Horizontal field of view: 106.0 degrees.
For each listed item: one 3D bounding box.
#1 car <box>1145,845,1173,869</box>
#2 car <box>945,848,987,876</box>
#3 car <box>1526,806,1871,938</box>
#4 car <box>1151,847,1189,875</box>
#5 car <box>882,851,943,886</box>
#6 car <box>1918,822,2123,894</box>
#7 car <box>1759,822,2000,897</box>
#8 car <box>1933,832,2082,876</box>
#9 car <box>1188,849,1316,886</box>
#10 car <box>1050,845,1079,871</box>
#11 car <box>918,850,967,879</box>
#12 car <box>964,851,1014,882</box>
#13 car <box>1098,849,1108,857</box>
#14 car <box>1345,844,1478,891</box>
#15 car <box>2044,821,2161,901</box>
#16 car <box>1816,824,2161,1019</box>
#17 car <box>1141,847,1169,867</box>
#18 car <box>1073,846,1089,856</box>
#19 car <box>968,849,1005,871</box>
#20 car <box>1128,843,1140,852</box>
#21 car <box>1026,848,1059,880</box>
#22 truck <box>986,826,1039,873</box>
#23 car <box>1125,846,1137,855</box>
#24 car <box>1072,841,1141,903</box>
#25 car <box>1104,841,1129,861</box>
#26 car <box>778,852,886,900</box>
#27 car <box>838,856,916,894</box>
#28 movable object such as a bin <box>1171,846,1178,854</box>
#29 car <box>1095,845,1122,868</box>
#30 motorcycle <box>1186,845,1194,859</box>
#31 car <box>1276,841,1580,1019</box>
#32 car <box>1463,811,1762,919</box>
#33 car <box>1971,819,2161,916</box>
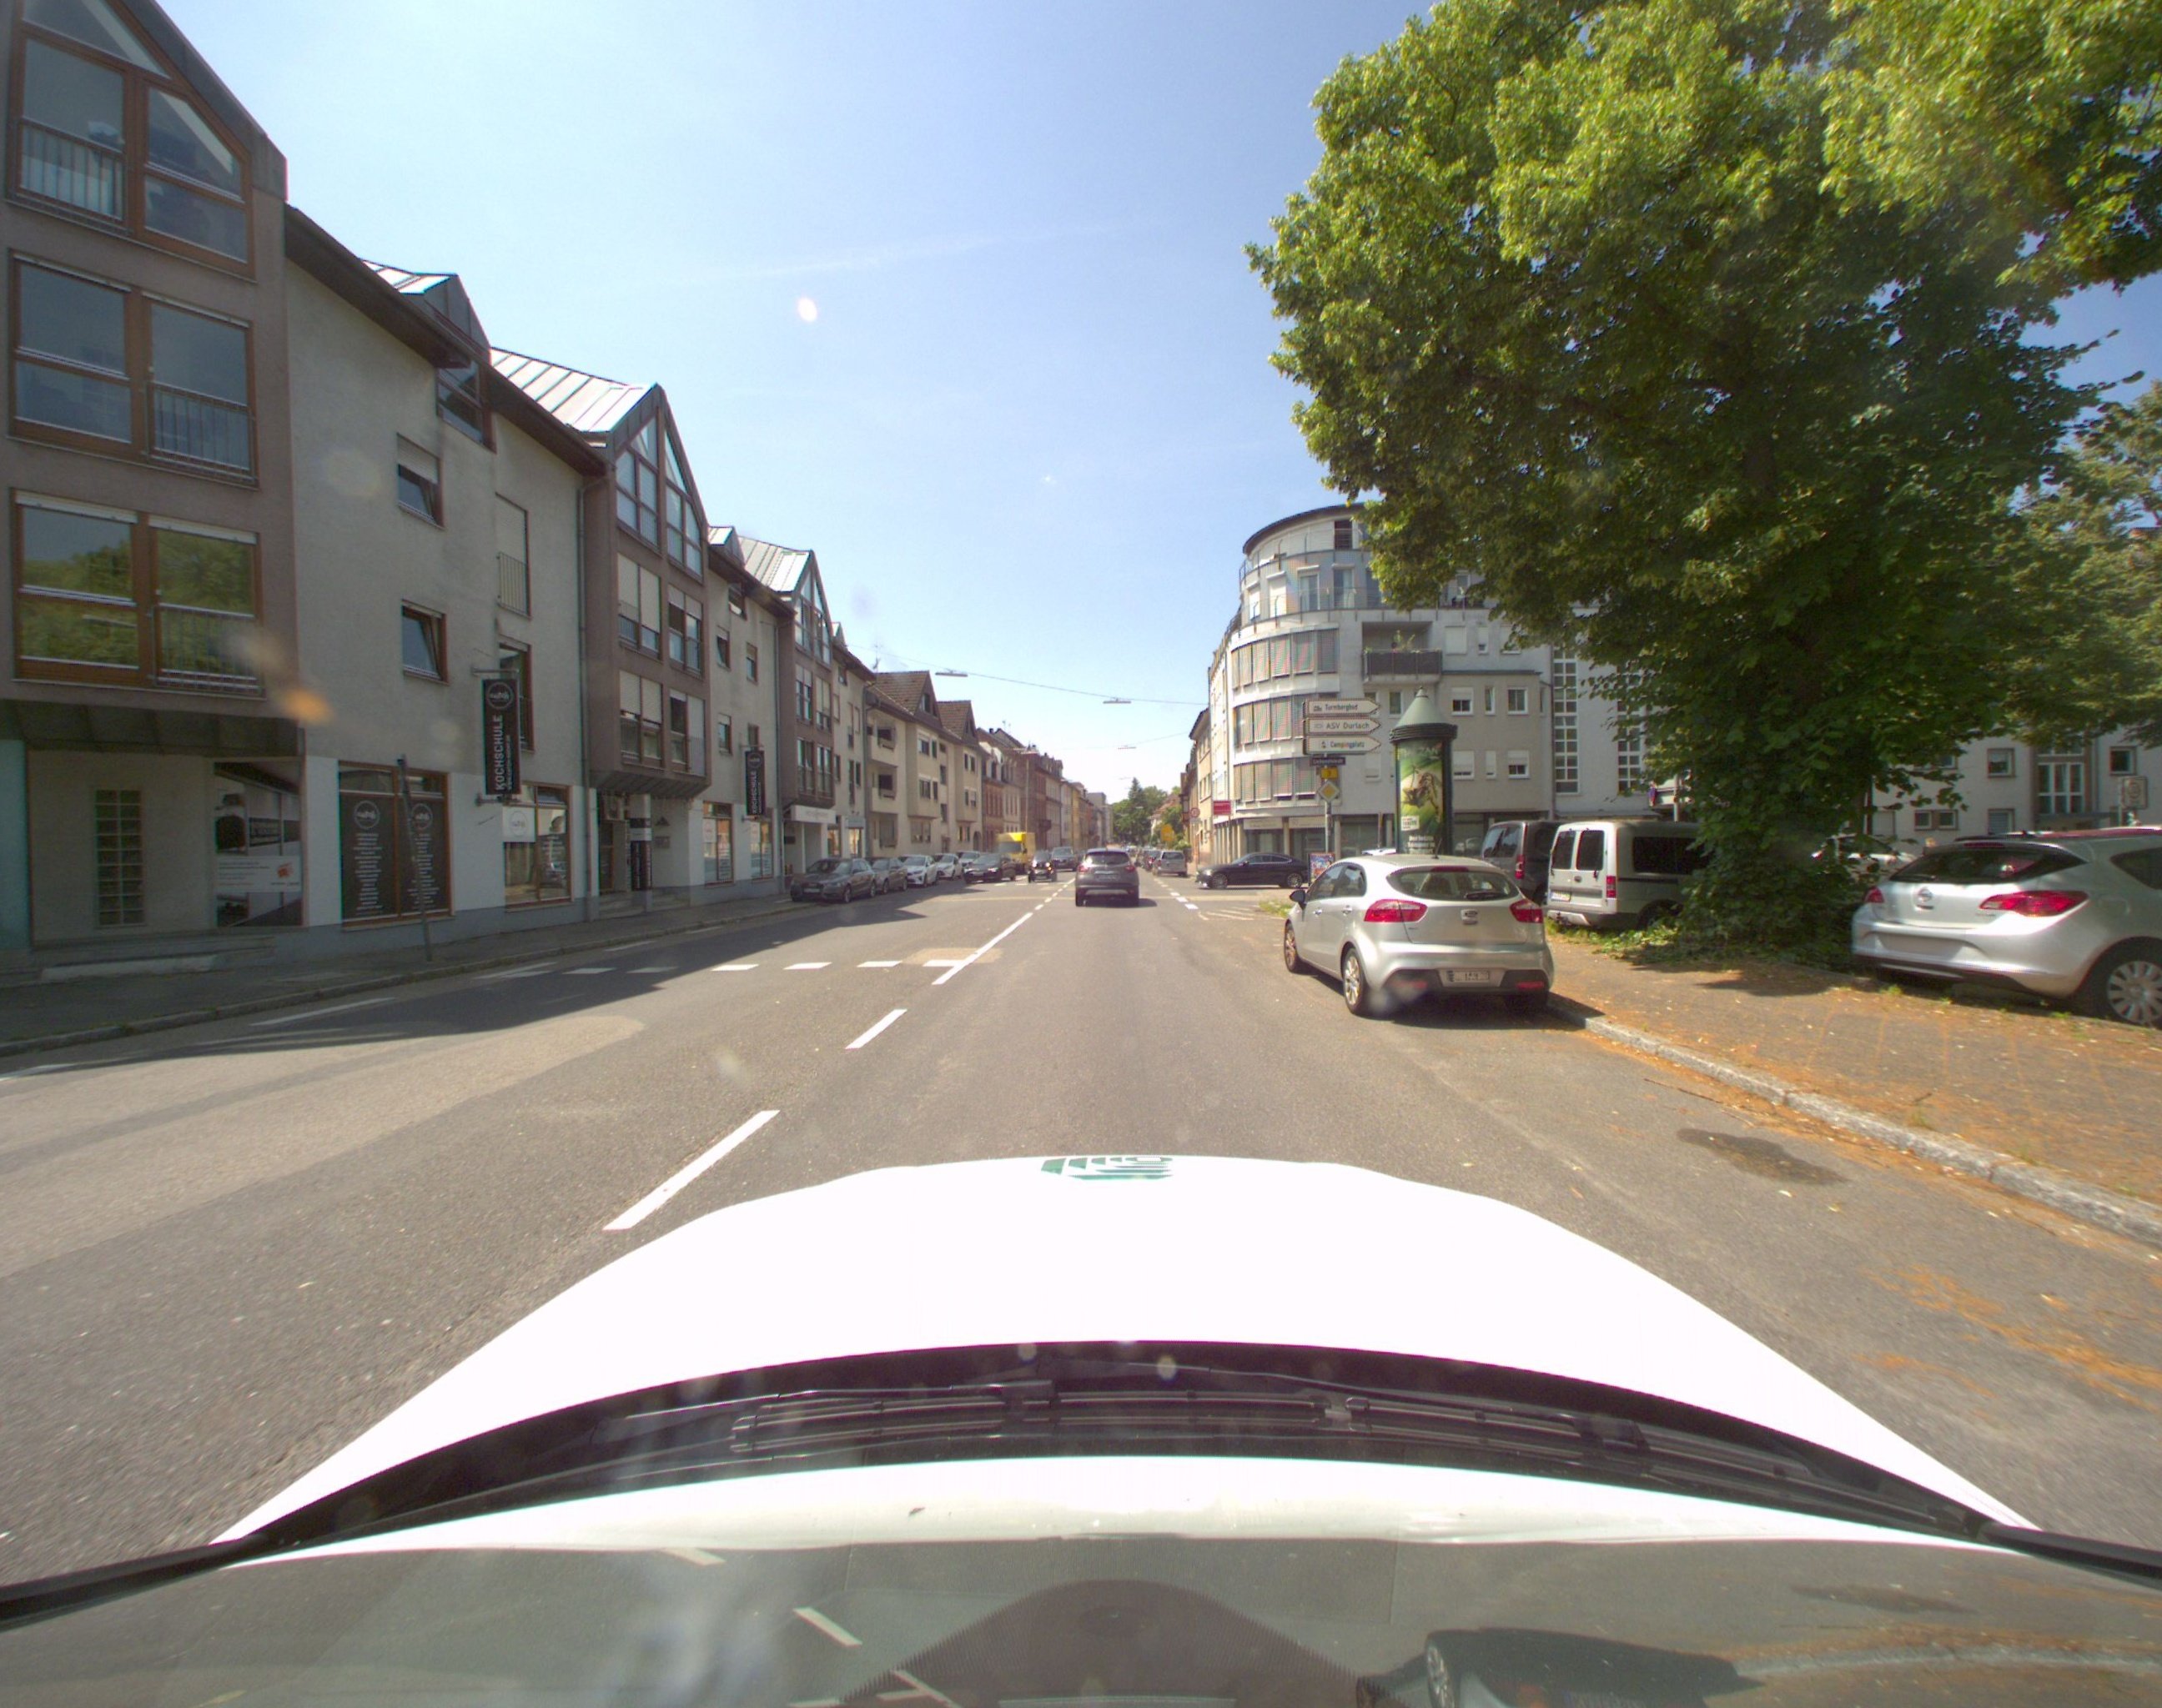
[{"bbox_3d":[5.150,0.158,54.126,1.704,1.473,4.442,-1,0,3],"label":"car"},{"bbox_3d":[-7.142,0.466,51.062,1.832,1.595,4.389,1,0,2],"label":"car"},{"bbox_3d":[8.713,0.224,11.694,3.754,1.667,1.662,-1,0,-3],"label":"car"},{"bbox_3d":[4.869,0.341,44.859,1.672,1.454,4.143,1,0,1],"label":"car"},{"bbox_3d":[-7.817,0.638,38.157,1.833,1.489,4.388,1,0,1],"label":"car"},{"bbox_3d":[22.295,0.091,19.410,3.053,1.554,1.591,-2,0,0],"label":"car"},{"bbox_3d":[18.504,0.117,18.995,3.974,1.554,1.681,-2,0,0],"label":"car"},{"bbox_3d":[37.234,-0.006,32.776,4.360,1.735,1.626,0,0,-3],"label":"car"},{"bbox_3d":[6.537,0.506,31.546,4.566,1.365,2.000,0,0,0],"label":"car"},{"bbox_3d":[-1.116,0.231,54.566,1.807,1.620,4.440,-2,0,-1],"label":"car"},{"bbox_3d":[-7.719,0.549,45.783,1.832,1.489,4.389,1,0,2],"label":"car"},{"bbox_3d":[-4.502,0.596,40.505,1.735,1.419,4.227,-2,0,3],"label":"car"},{"bbox_3d":[4.528,-0.222,165.641,1.898,1.619,4.304,-3,0,2],"label":"car"},{"bbox_3d":[11.363,0.451,28.169,3.975,1.555,1.570,0,0,-1],"label":"car"},{"bbox_3d":[22.427,0.090,16.747,3.370,1.554,1.591,-2,0,0],"label":"car"},{"bbox_3d":[8.863,0.473,6.685,3.970,1.398,1.810,0,0,3],"label":"car"},{"bbox_3d":[5.377,0.178,59.657,1.646,1.420,4.048,-1,0,0],"label":"car"},{"bbox_3d":[0.068,-0.473,120.826,1.830,1.422,4.566,-4,0,6],"label":"car"},{"bbox_3d":[-6.647,0.389,57.576,1.832,1.488,4.390,1,0,3],"label":"car"},{"bbox_3d":[9.245,-1.133,141.710,1.754,1.559,3.950,-1,0,7],"label":"car"},{"bbox_3d":[-1.802,0.452,38.643,1.493,1.459,2.720,-1,0,-2],"label":"car"},{"bbox_3d":[-4.430,-0.314,54.098,2.216,2.771,7.572,-3,0,4],"label":"truck"},{"bbox_3d":[8.276,-0.576,133.792,1.754,1.559,3.950,-1,0,7],"label":"car"},{"bbox_3d":[0.648,0.455,23.537,1.739,1.616,3.998,0,1,-2],"label":"car"},{"bbox_3d":[3.856,-0.312,86.935,1.981,2.013,4.480,-2,0,11],"label":"car"},{"bbox_3d":[-8.313,0.685,27.733,1.832,1.447,4.973,1,0,3],"label":"car"},{"bbox_3d":[-8.131,0.785,32.868,1.832,1.383,4.330,1,0,2],"label":"car"},{"bbox_3d":[11.332,-0.492,98.488,0.785,0.907,0.539,-2,0,2],"label":"movable object such as a bin"},{"bbox_3d":[2.103,0.174,61.298,1.804,1.620,4.446,-2,0,4],"label":"car"},{"bbox_3d":[9.638,-0.146,71.903,0.593,1.225,1.363,-1,0,4],"label":"motorcycle"},{"bbox_3d":[3.366,0.634,8.767,1.760,1.485,3.893,0,0,2],"label":"car"},{"bbox_3d":[9.182,0.176,14.349,3.973,1.750,2.017,0,0,1],"label":"car"},{"bbox_3d":[18.272,0.176,14.060,3.974,1.528,1.681,-2,0,0],"label":"car"}]
